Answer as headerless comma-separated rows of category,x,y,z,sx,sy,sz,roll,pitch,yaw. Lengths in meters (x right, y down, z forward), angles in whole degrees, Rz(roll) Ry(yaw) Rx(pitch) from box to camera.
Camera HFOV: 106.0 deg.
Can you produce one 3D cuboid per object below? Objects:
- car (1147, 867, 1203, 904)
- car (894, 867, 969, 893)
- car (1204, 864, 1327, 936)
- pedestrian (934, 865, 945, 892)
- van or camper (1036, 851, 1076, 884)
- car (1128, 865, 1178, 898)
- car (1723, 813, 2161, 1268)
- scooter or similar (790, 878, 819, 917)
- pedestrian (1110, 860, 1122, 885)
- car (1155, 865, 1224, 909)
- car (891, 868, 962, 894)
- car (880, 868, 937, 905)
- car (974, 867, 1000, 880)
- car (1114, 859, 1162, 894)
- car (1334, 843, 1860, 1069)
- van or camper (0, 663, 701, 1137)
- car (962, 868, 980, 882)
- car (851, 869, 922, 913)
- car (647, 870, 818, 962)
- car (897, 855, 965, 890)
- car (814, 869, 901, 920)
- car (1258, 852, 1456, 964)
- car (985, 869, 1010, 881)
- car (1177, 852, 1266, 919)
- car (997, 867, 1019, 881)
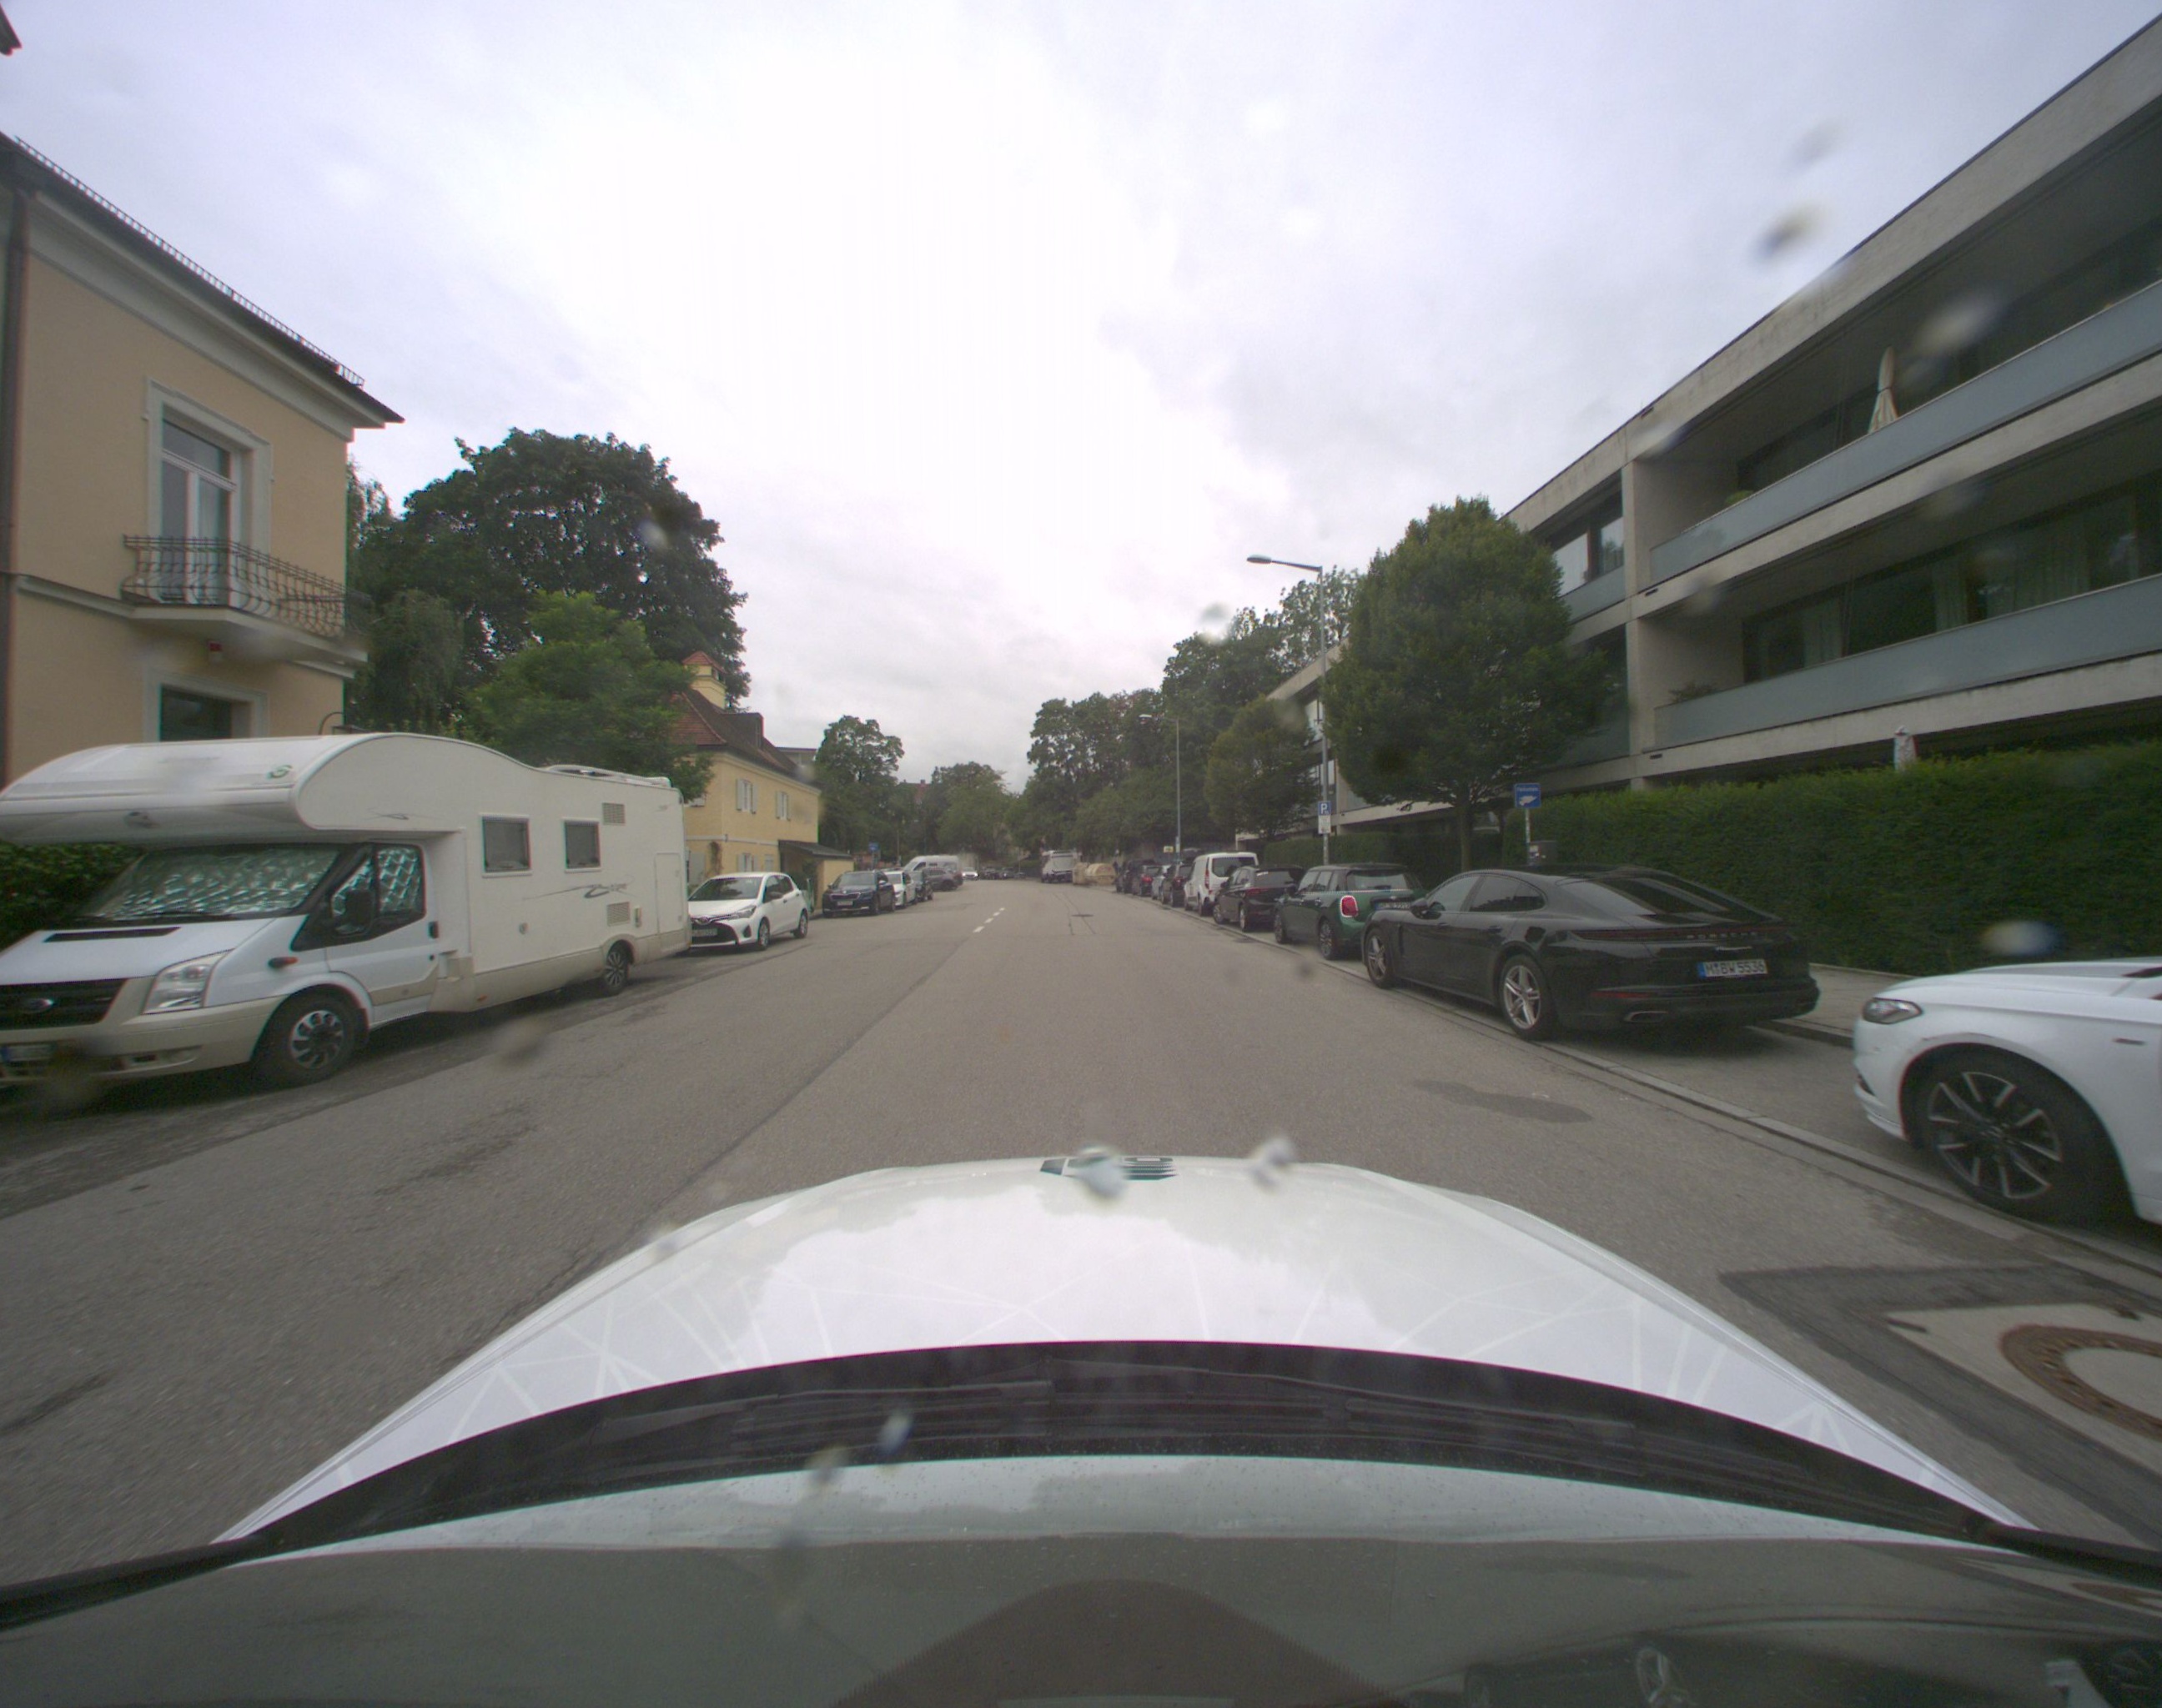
car,3.936,1.290,34.733,1.744,1.480,3.883,-1,-1,-3
car,-10.036,1.741,54.894,4.547,1.594,1.943,-1,-1,-36
car,4.167,0.991,19.098,1.743,1.464,4.238,-1,-1,-3
pedestrian,-8.939,1.545,51.261,0.590,1.648,0.711,-3,-1,-12
van or camper,-2.409,1.265,76.746,2.276,2.906,7.241,0,-1,-14
car,3.505,1.332,40.435,1.745,1.539,4.561,0,-1,-5
car,4.755,0.618,2.130,1.868,1.569,4.992,-3,0,-5
scooter or similar,-8.816,1.368,26.027,0.451,1.188,1.370,1,-1,-1
pedestrian,2.831,1.476,65.733,0.796,1.985,0.628,0,-1,-13
car,3.919,1.159,30.118,1.743,1.480,4.593,0,-1,-2
car,-9.899,1.712,52.136,4.340,1.530,1.922,-1,-2,-16
car,-7.907,1.450,37.750,1.841,1.535,4.555,-3,-1,-4
car,-12.737,2.667,110.000,2.004,1.711,4.843,-2,-1,-25
car,3.139,1.274,45.788,1.984,1.871,5.068,0,-2,-5
car,4.449,0.724,8.324,1.872,1.481,5.202,-3,0,-2
van or camper,-7.001,0.353,8.718,2.448,2.941,7.208,-2,-1,-1
car,-12.244,2.331,90.992,1.769,1.475,4.127,0,-1,-4
car,-7.728,1.430,32.839,1.840,1.535,4.517,-3,-1,-2
car,-6.958,1.149,16.798,1.774,1.535,4.224,-3,-1,-2
car,-11.546,1.405,62.918,4.658,2.563,2.209,-1,-1,-36
car,-7.572,1.337,28.025,1.840,1.535,4.437,-3,-1,-2
car,4.414,0.798,13.771,1.723,1.529,4.200,-2,-1,-3
car,-10.885,2.717,105.778,1.886,1.427,4.186,-2,-1,-25
car,4.181,0.903,24.981,1.817,1.861,4.895,1,-1,-1
car,-9.140,2.504,102.062,1.748,1.536,2.921,-2,-1,-25
